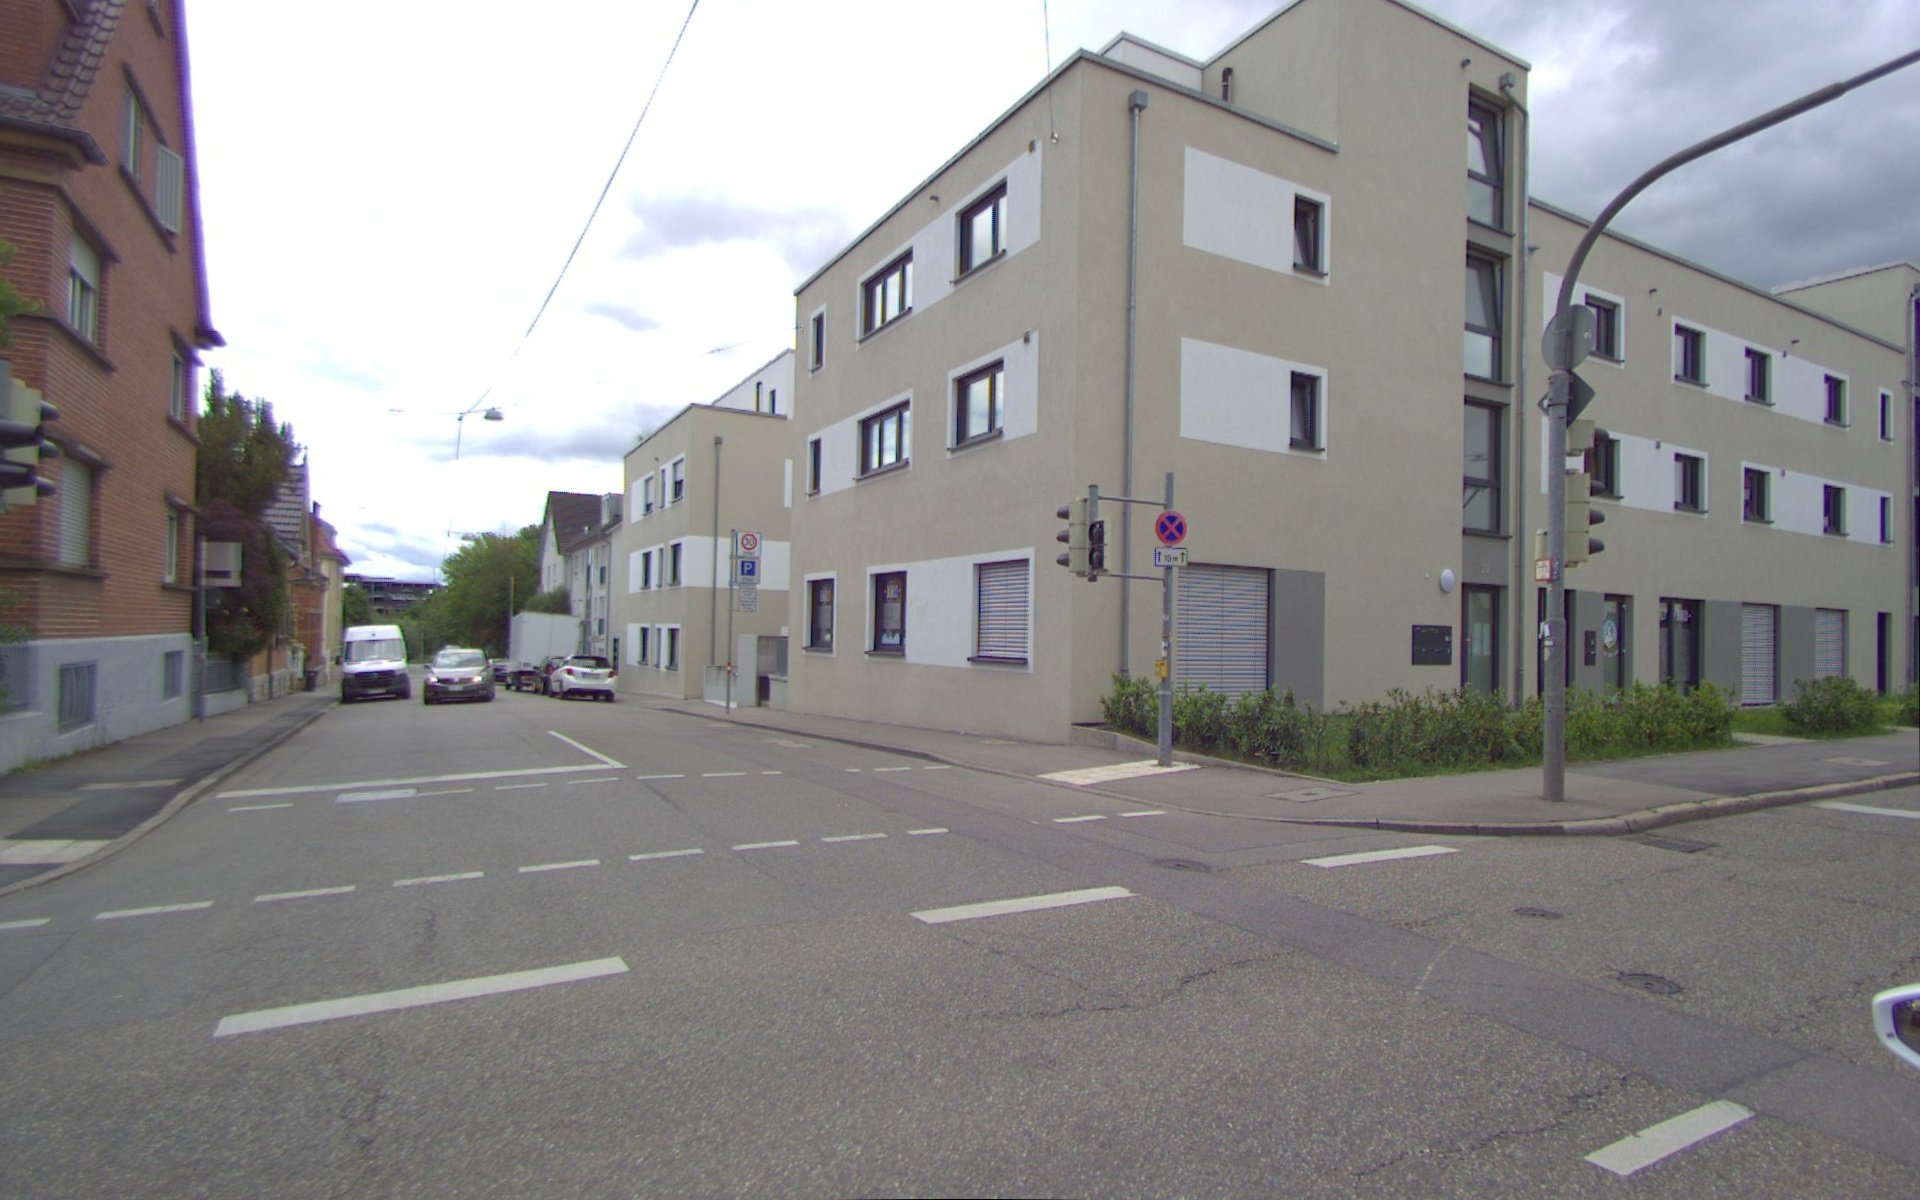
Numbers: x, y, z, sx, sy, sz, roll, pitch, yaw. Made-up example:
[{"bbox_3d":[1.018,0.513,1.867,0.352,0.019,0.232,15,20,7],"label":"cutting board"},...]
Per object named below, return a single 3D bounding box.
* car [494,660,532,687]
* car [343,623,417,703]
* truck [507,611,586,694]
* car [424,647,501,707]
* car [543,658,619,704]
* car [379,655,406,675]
[{"bbox_3d":[-23.953,3.896,53.746,1.576,1.382,3.972,2,-4,-28],"label":"car"},{"bbox_3d":[-20.410,2.214,35.210,2.017,2.542,5.942,2,-4,-32],"label":"car"},{"bbox_3d":[-17.819,2.274,43.093,2.420,3.274,6.170,2,-4,-28],"label":"truck"},{"bbox_3d":[-14.883,2.273,29.930,1.874,1.605,3.971,-1,-3,-29],"label":"car"},{"bbox_3d":[-12.803,2.673,33.799,1.729,1.440,3.968,3,-4,-30],"label":"car"},{"bbox_3d":[-49.878,5.680,88.324,1.976,1.528,3.969,2,-1,-29],"label":"car"}]
